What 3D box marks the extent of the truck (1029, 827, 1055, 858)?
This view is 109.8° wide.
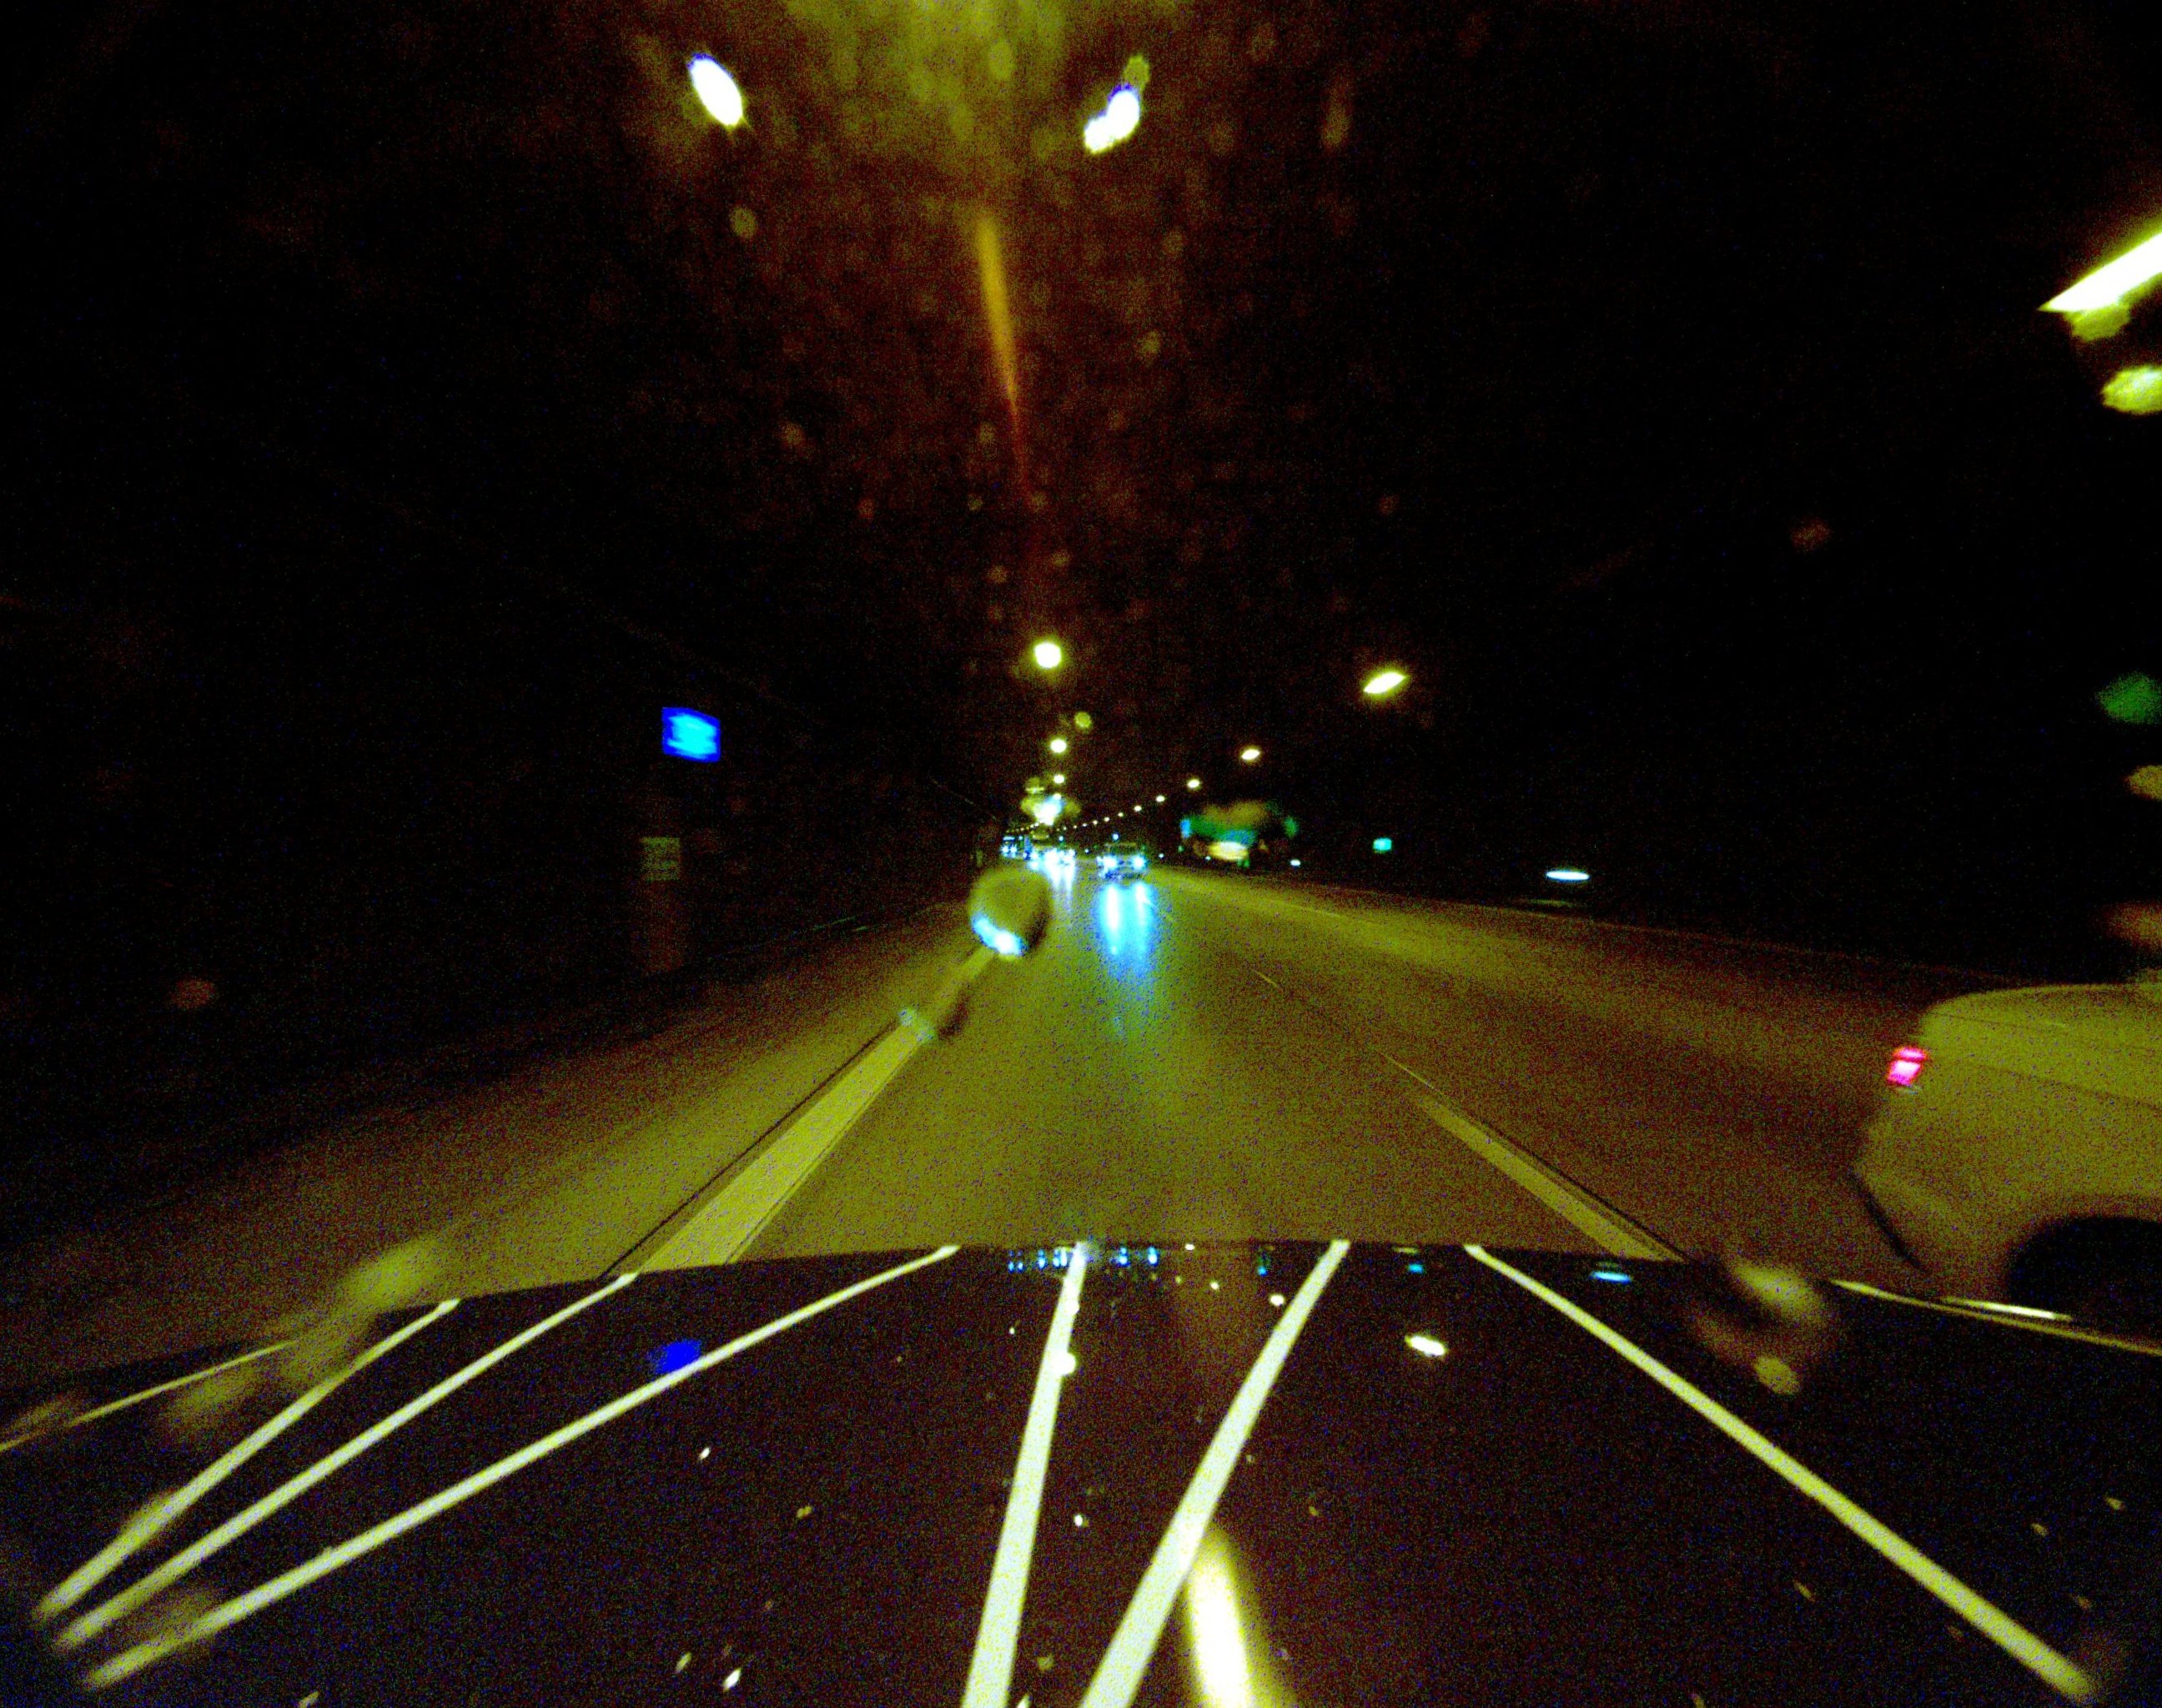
[{"bbox_3d":[-5.703,-1.760,109.683,3.144,4.137,7.380,-2,3,-6],"label":"truck"}]

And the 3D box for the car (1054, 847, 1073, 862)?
[{"bbox_3d":[-1.908,0.049,80.224,1.759,1.567,3.998,-2,0,-5],"label":"car"}]

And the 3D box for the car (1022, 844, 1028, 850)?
[{"bbox_3d":[-16.039,-2.067,217.143,1.793,1.707,3.730,-2,0,-5],"label":"car"}]

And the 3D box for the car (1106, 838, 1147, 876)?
[{"bbox_3d":[2.541,0.161,43.177,1.999,2.002,4.360,-2,0,-1],"label":"car"}]

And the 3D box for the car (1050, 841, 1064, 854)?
[{"bbox_3d":[-4.061,-1.091,127.810,1.999,1.810,3.995,-2,3,-6],"label":"car"}]

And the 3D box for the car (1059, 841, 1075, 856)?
[{"bbox_3d":[-2.047,-0.826,112.027,1.999,2.003,3.995,-2,3,-6],"label":"car"}]
